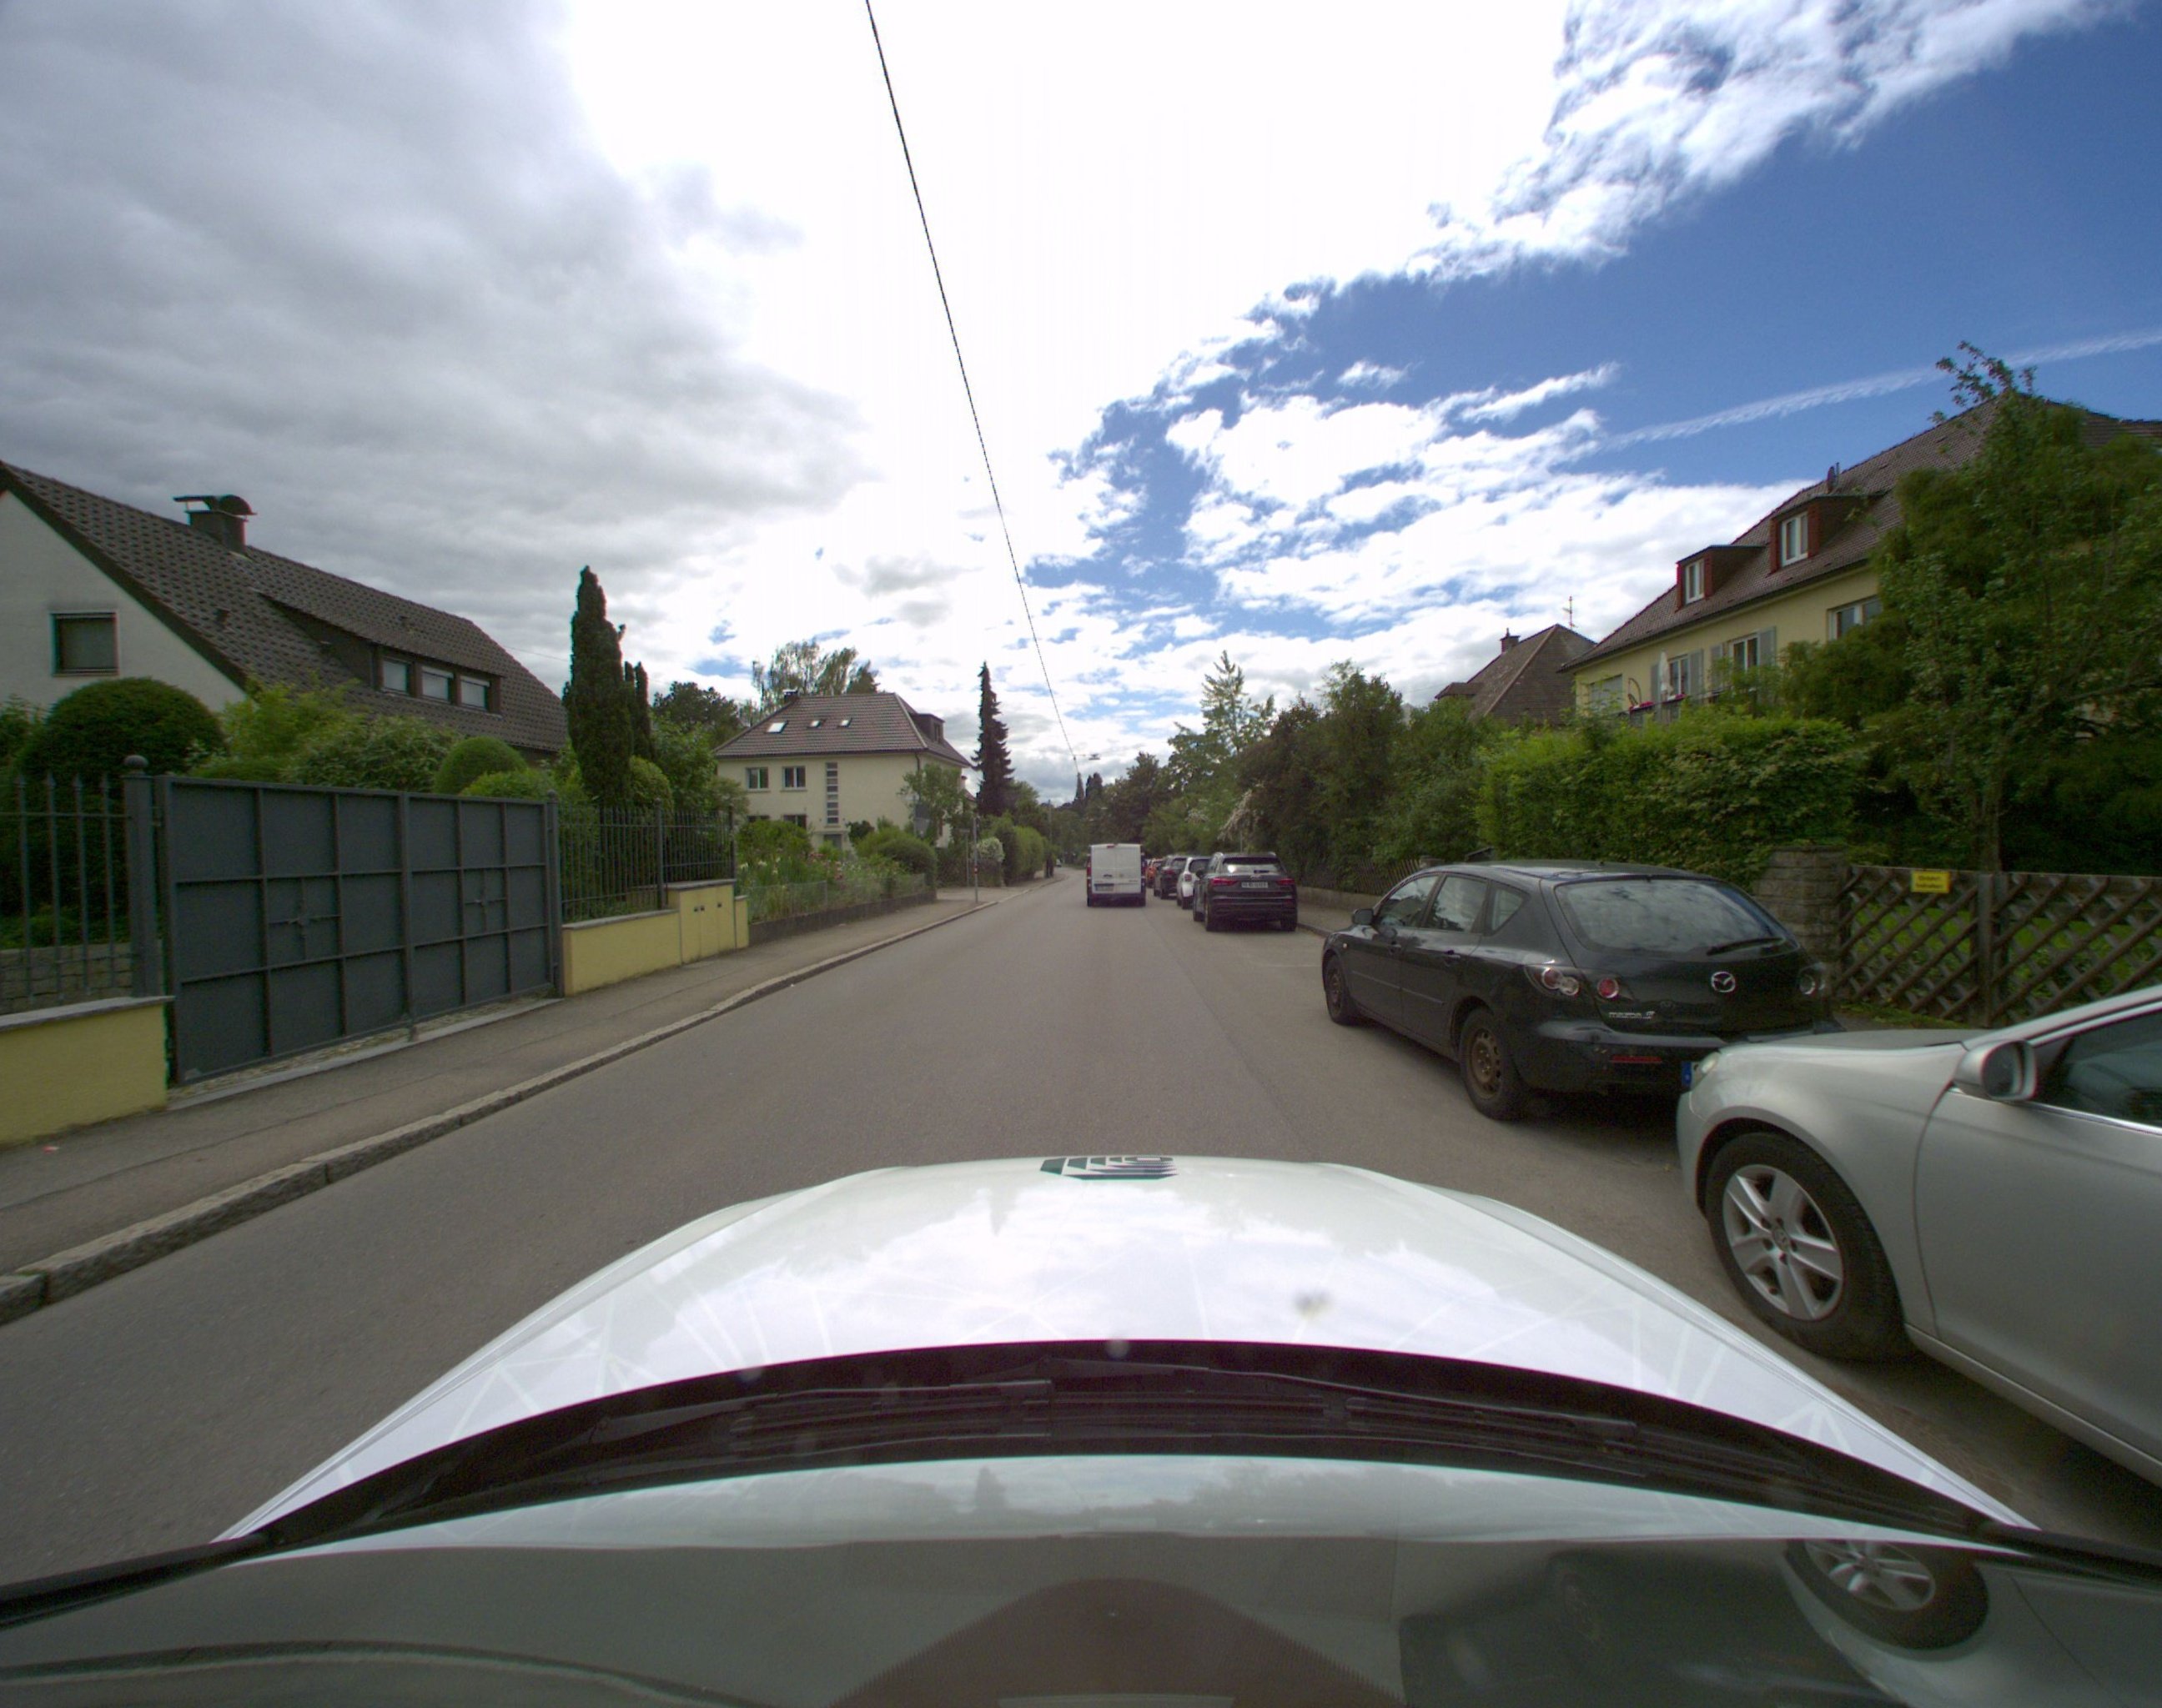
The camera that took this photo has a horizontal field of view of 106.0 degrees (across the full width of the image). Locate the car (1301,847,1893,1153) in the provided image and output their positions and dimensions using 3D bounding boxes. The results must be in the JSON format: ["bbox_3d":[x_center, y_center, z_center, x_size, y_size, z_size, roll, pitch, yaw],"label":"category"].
[{"bbox_3d":[3.090,0.706,6.049,1.712,1.460,4.139,-1,0,-1],"label":"car"}]

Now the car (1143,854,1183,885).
[{"bbox_3d":[4.489,0.870,45.186,1.844,1.627,4.169,0,-1,1],"label":"car"}]

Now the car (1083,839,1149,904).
[{"bbox_3d":[1.078,0.528,26.834,1.924,1.964,4.400,0,0,-1],"label":"car"}]

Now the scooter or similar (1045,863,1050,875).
[{"bbox_3d":[-3.309,1.516,80.586,0.390,1.171,1.270,0,-1,0],"label":"scooter or similar"}]

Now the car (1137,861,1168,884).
[{"bbox_3d":[4.448,1.151,51.308,1.710,1.382,4.237,0,-1,2],"label":"car"}]

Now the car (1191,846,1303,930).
[{"bbox_3d":[3.452,0.666,17.661,1.793,1.592,4.144,-1,-1,3],"label":"car"}]

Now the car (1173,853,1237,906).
[{"bbox_3d":[3.730,0.755,24.893,1.592,1.510,3.014,-1,-1,2],"label":"car"}]

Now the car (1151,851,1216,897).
[{"bbox_3d":[3.870,0.742,31.463,1.944,1.627,4.375,0,-1,0],"label":"car"}]

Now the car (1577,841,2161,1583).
[{"bbox_3d":[3.025,0.704,1.328,1.751,1.477,4.357,-1,0,-1],"label":"car"}]
